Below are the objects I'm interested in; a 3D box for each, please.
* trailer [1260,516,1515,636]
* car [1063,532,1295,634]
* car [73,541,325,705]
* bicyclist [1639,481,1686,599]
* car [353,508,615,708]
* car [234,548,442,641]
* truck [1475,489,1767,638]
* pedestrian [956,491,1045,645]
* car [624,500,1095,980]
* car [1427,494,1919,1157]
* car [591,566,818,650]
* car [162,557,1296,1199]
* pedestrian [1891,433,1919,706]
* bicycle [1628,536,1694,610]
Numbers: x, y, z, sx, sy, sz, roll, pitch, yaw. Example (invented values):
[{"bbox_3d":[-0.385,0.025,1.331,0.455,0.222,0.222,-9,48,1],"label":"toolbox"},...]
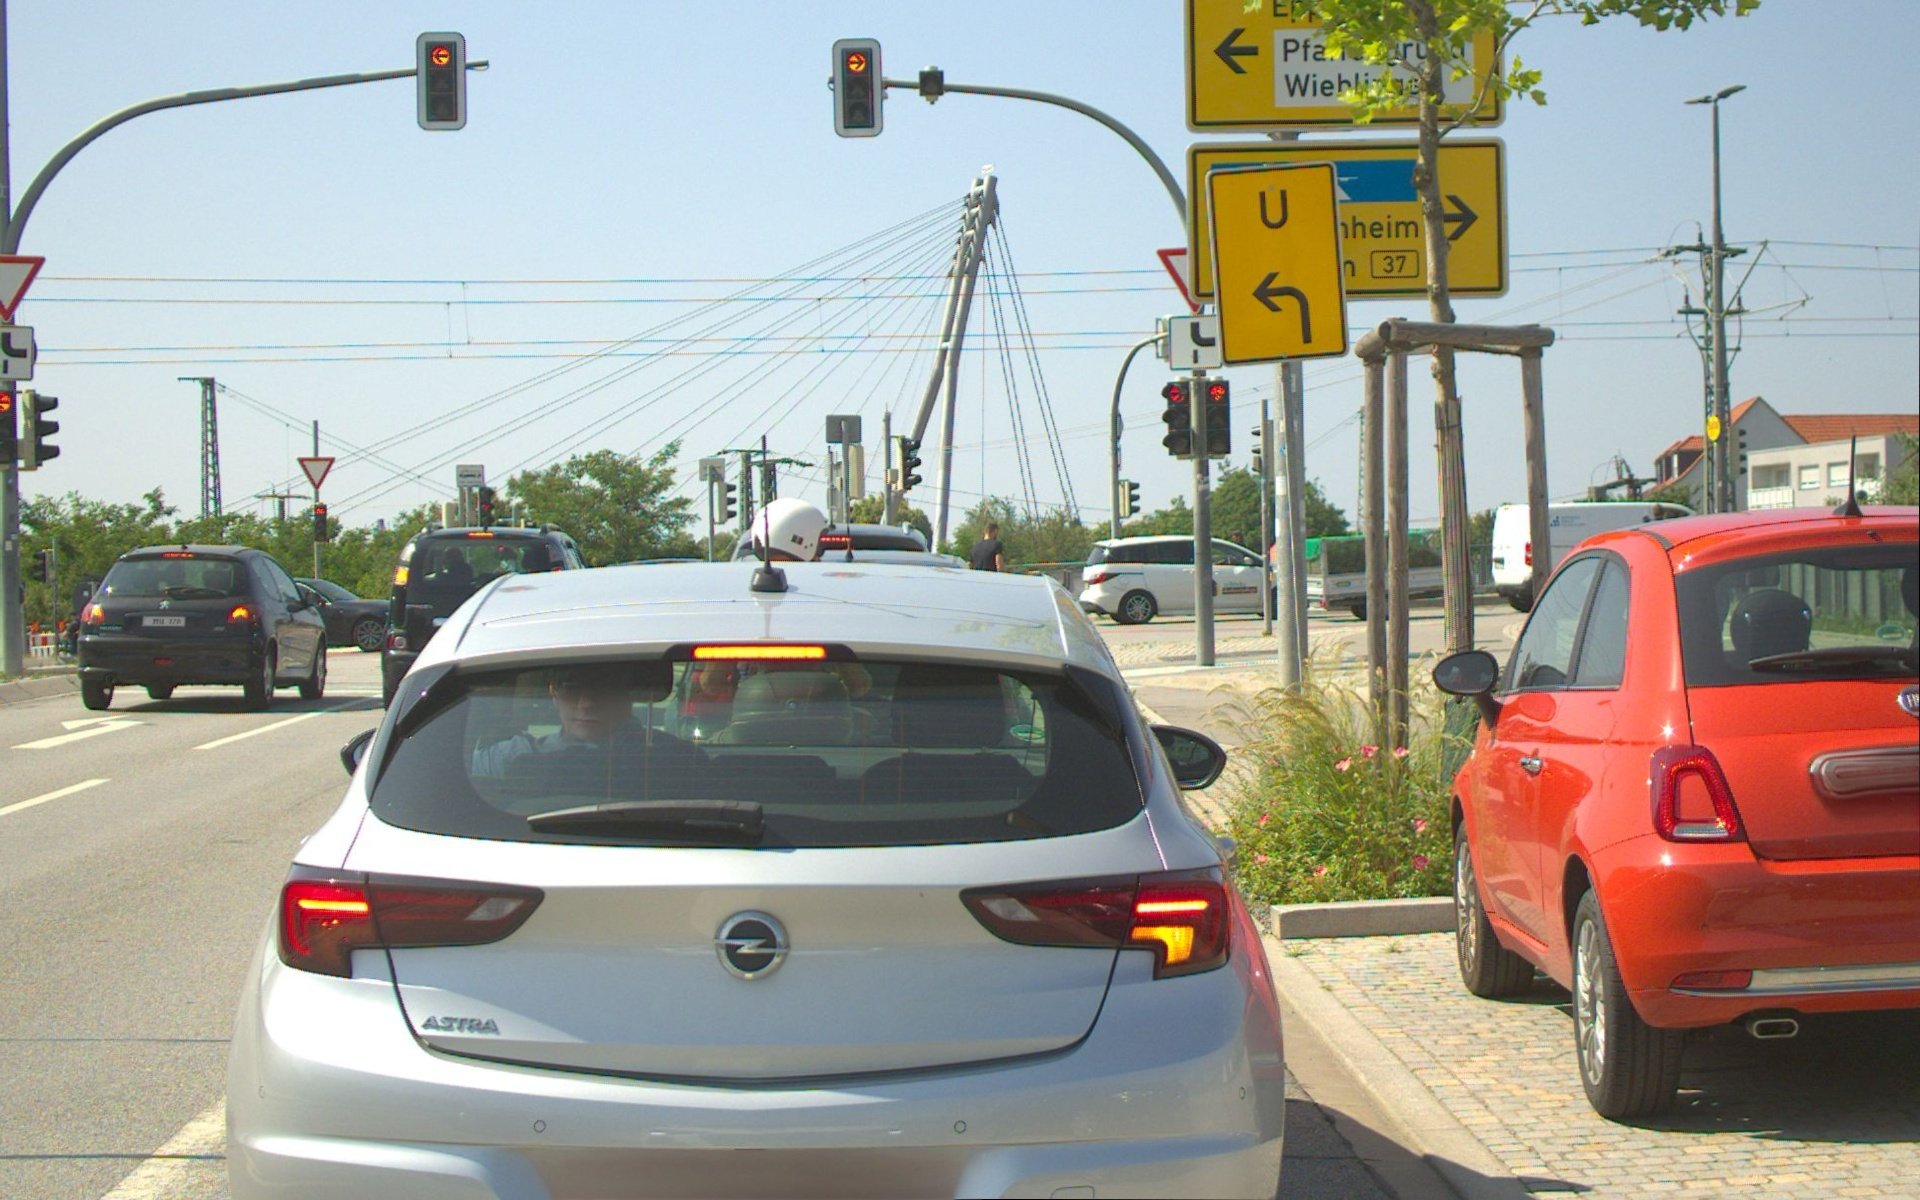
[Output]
[{"bbox_3d":[7.529,-0.409,60.716,3.986,2.007,2.001,1,0,-13],"label":"trailer"},{"bbox_3d":[4.023,-0.309,63.513,3.986,1.778,2.000,1,0,-5],"label":"car"},{"bbox_3d":[-6.784,0.193,30.928,1.587,1.390,3.340,0,0,-1],"label":"car"},{"bbox_3d":[11.323,-0.966,55.441,0.635,1.881,0.595,0,0,23],"label":"bicyclist"},{"bbox_3d":[-4.091,0.062,30.094,1.803,1.616,3.917,1,0,-1],"label":"car"},{"bbox_3d":[-11.427,-0.101,63.335,3.506,1.635,1.800,1,0,-1],"label":"car"},{"bbox_3d":[11.846,-0.640,61.713,4.692,2.532,2.001,1,0,-13],"label":"truck"},{"bbox_3d":[0.495,-0.385,42.021,0.740,1.857,0.753,1,0,-41],"label":"pedestrian"},{"bbox_3d":[-0.399,0.495,14.074,1.634,1.668,3.745,1,0,-1],"label":"car"},{"bbox_3d":[2.400,0.475,10.025,1.669,1.534,3.916,-2,1,3],"label":"car"},{"bbox_3d":[-4.410,0.136,59.760,3.775,1.385,1.666,1,0,1],"label":"car"},{"bbox_3d":[-0.391,0.671,7.281,1.690,1.514,4.271,0,1,-1],"label":"car"},{"bbox_3d":[6.786,-0.200,23.148,0.758,1.823,0.885,1,0,-1],"label":"pedestrian"},{"bbox_3d":[11.342,-0.439,55.579,0.554,1.174,2.085,0,0,25],"label":"bicycle"}]
